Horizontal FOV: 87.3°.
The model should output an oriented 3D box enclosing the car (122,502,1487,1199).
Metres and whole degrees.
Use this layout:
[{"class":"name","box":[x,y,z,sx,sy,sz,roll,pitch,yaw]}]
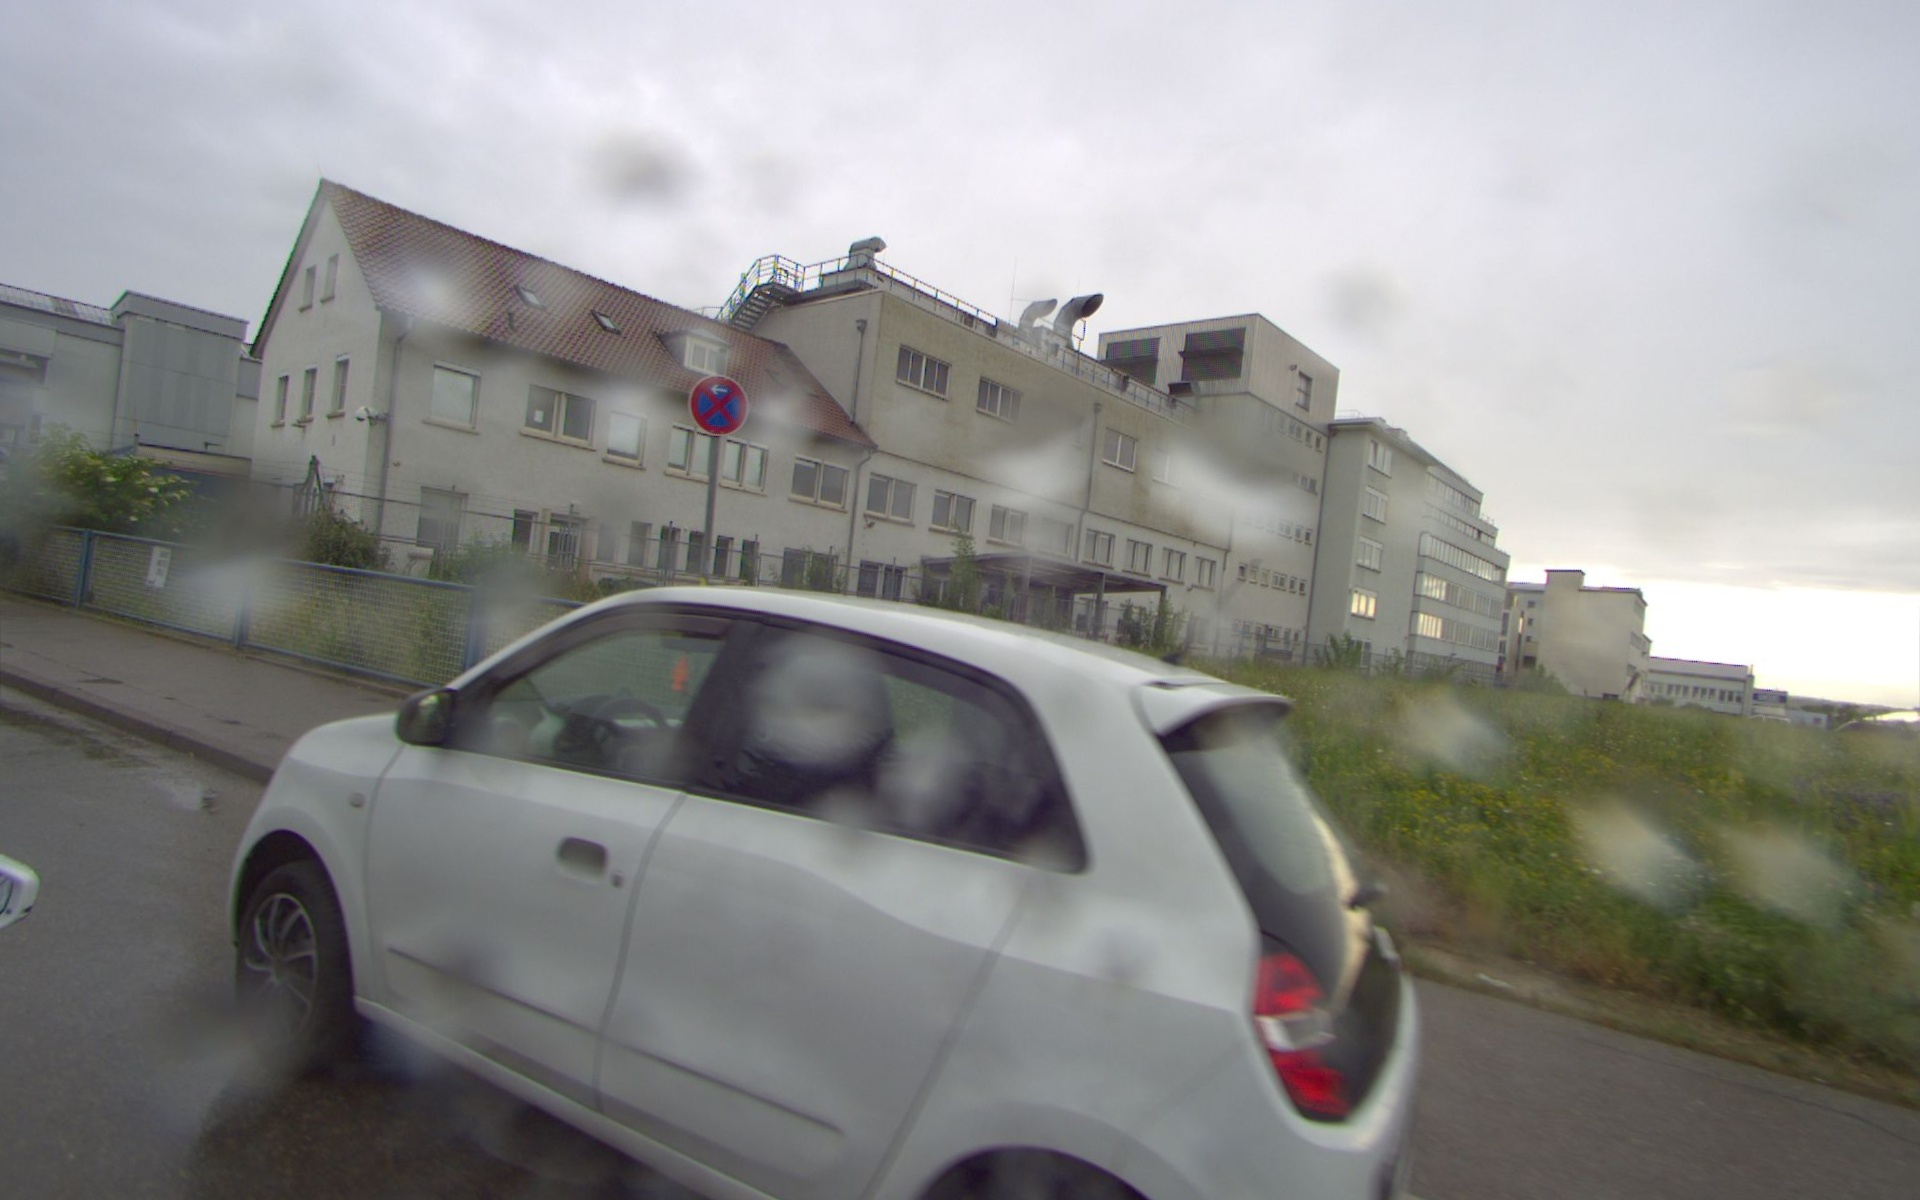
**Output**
[{"class":"car","box":[-0.573,0.739,3.000,3.612,1.575,1.685,7,-2,30]}]
